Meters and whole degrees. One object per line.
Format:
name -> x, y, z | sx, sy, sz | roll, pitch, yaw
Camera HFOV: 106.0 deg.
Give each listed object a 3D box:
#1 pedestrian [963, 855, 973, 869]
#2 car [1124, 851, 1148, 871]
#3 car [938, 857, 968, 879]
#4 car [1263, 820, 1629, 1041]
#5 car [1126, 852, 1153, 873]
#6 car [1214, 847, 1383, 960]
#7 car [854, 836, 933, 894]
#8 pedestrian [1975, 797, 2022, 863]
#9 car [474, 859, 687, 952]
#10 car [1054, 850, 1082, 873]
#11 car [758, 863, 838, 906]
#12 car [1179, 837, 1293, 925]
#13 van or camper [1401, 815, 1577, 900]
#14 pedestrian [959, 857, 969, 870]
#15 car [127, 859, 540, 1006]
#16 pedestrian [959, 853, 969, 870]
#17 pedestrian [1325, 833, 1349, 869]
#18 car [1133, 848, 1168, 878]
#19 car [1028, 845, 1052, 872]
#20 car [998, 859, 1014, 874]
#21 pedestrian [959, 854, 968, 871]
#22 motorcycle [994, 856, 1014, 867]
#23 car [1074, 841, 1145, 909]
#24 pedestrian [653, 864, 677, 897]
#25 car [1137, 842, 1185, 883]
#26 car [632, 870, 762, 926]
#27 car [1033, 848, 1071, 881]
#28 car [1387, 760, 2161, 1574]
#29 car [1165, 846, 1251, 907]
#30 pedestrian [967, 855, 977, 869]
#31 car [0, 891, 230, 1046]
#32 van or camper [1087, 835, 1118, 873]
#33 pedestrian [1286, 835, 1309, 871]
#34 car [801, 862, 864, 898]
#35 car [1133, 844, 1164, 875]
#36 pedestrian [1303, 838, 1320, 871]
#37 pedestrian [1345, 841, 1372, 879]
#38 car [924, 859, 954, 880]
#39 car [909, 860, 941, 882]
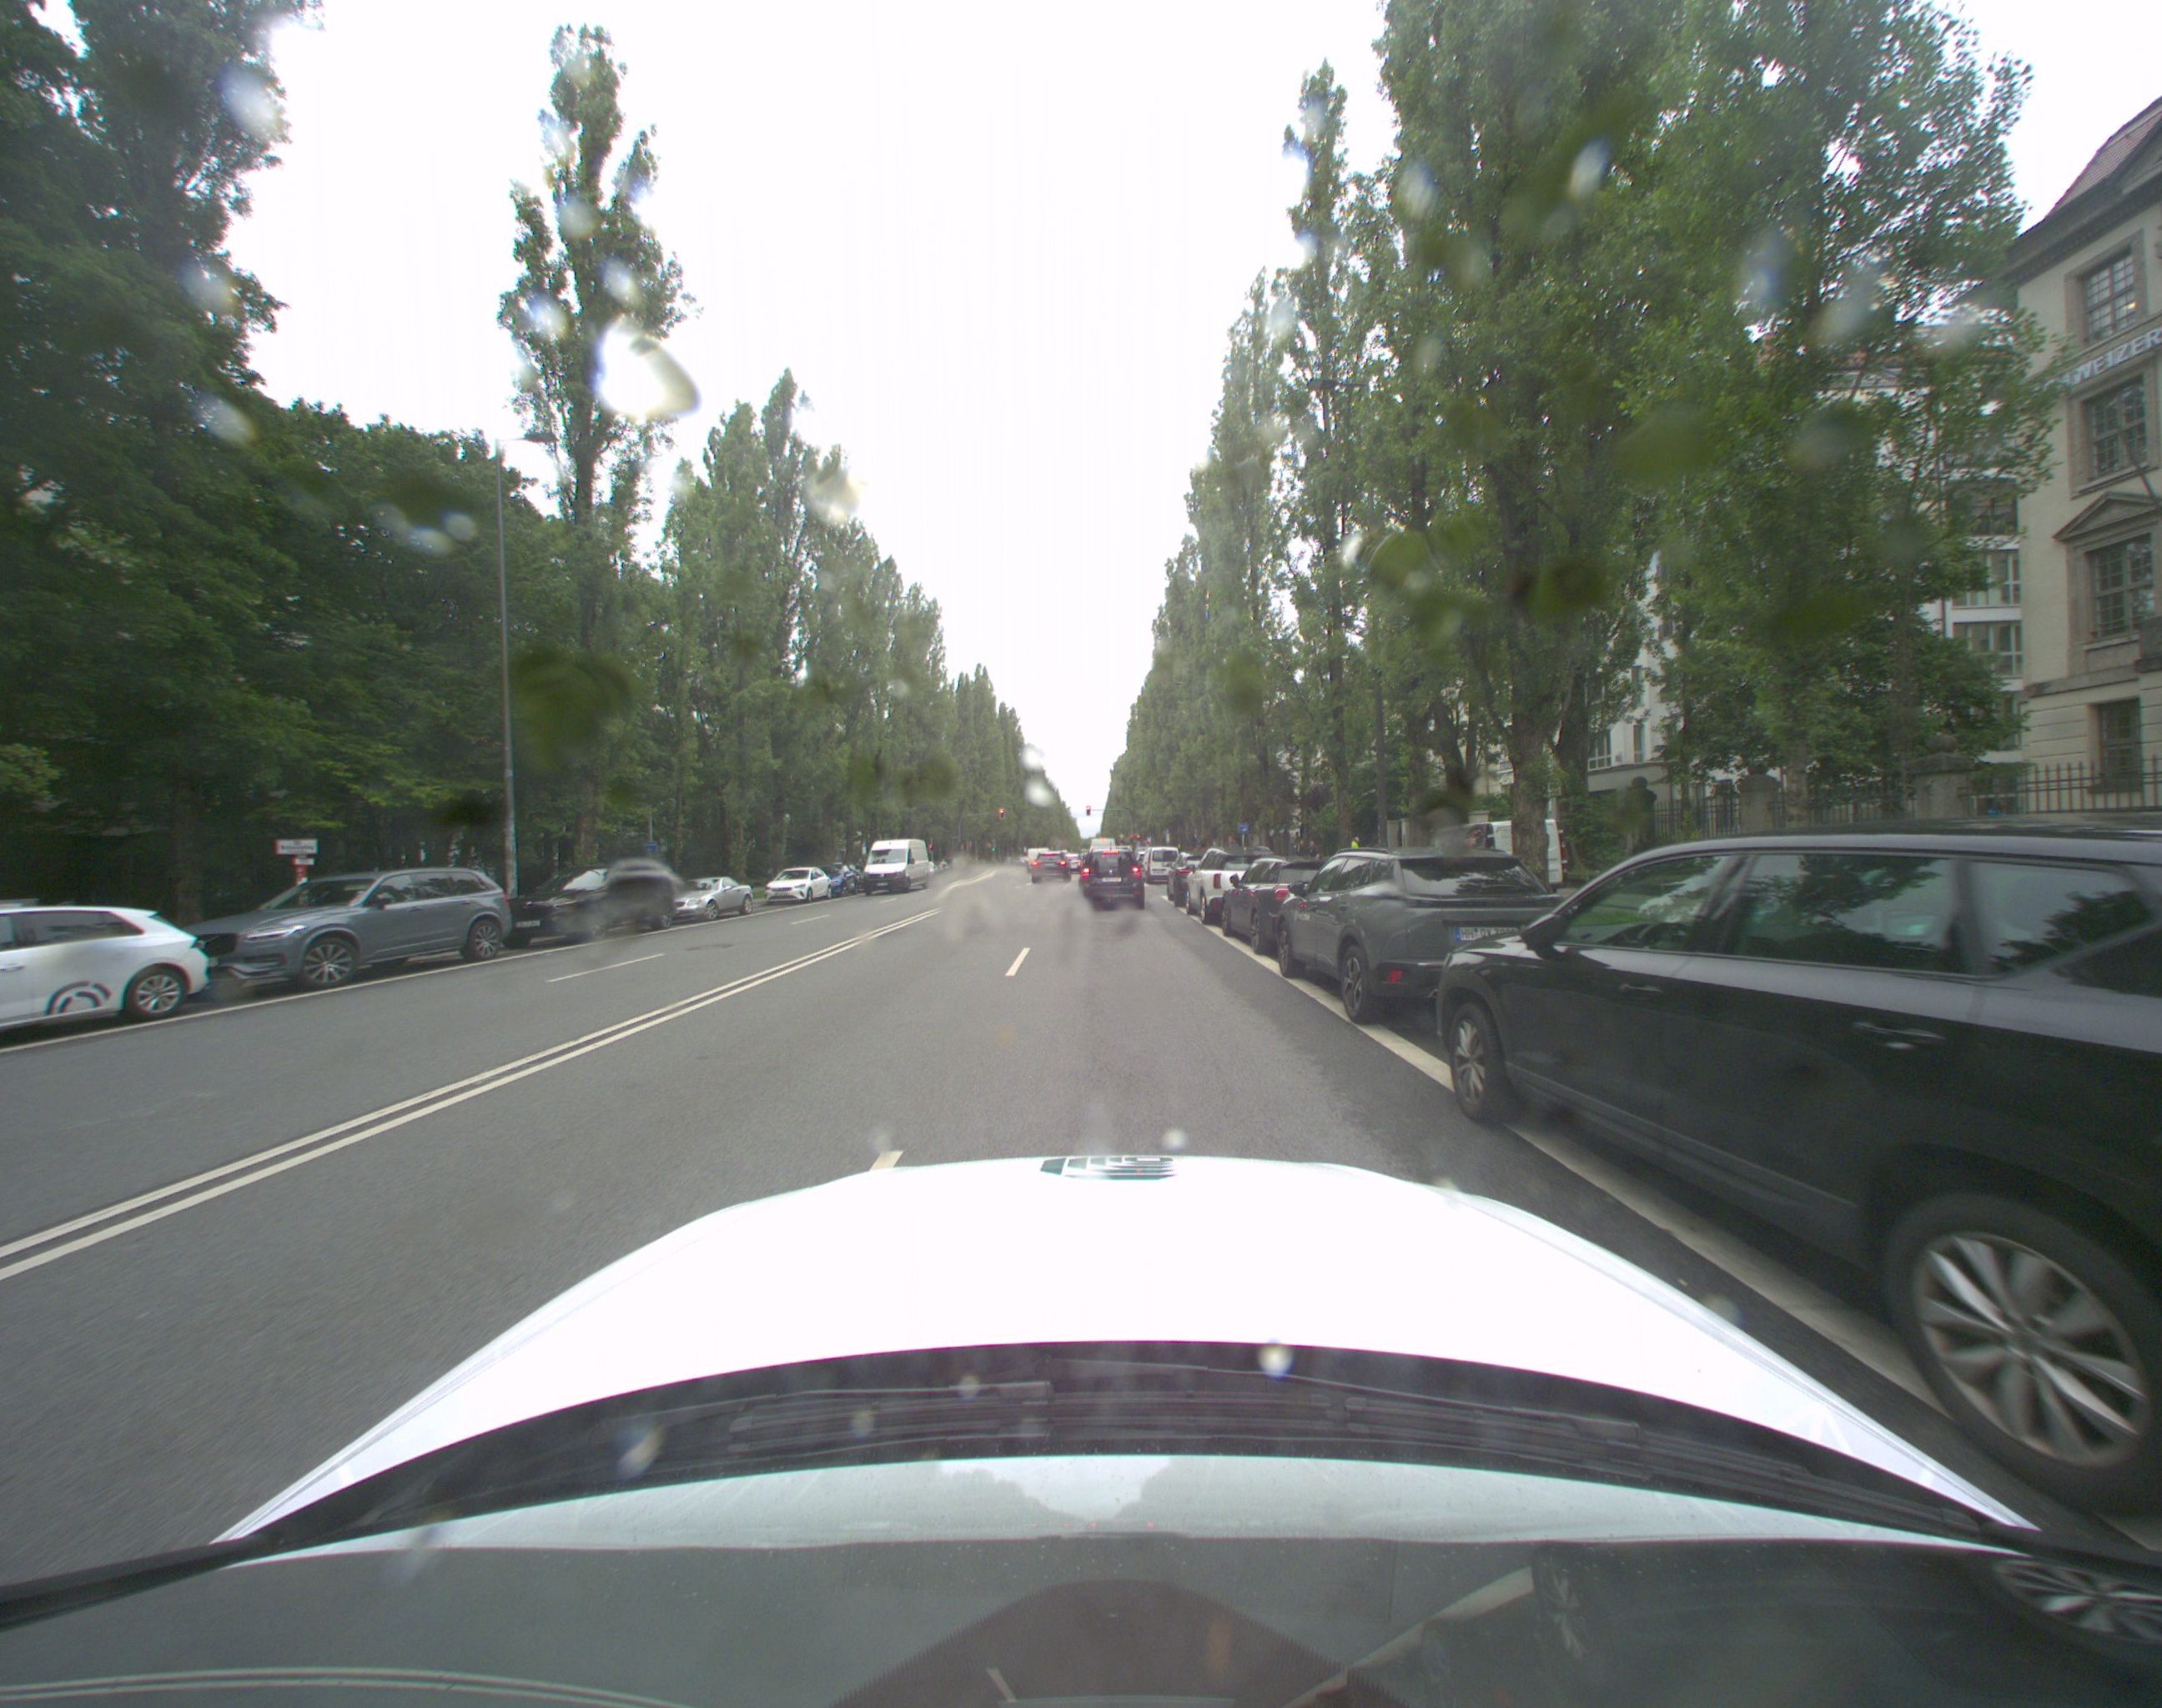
pedestrian -> -14.106, 1.027, 101.679 | 0.887, 1.655, 0.868 | -2, 0, -37
car -> 4.348, 0.548, 64.576 | 1.729, 1.475, 3.563 | -2, 0, 1
car -> -11.012, 1.170, 70.168 | 1.844, 1.654, 4.693 | -4, 0, -1
car -> 3.287, 0.566, 8.487 | 1.777, 1.618, 4.639 | -2, 0, 1
car -> 4.247, 0.586, 59.070 | 1.729, 1.387, 3.563 | -2, 0, 1
car -> 3.383, 0.671, 13.515 | 1.697, 1.519, 4.296 | -2, 0, 1
car -> -8.991, 0.486, 39.712 | 2.221, 2.483, 6.756 | -4, 0, -1
pedestrian -> 26.389, -0.674, 23.436 | 0.636, 1.862, 0.602 | -2, 0, -8
car -> -11.598, 1.081, 19.394 | 1.935, 1.767, 4.895 | -4, 0, 0
car -> -0.945, 0.557, 62.567 | 1.987, 1.560, 4.000 | -2, 1, 0
car -> -11.633, 1.210, 33.780 | 1.765, 1.452, 4.232 | -4, 0, 0
car -> 3.355, 0.519, 18.448 | 1.736, 1.675, 4.581 | -2, 0, 1
van or camper -> 10.435, 0.070, 21.419 | 2.068, 1.933, 5.370 | -1, 0, 2
pedestrian -> -14.704, 1.165, 102.607 | 0.887, 1.655, 0.868 | -2, 0, -37
car -> -11.791, 1.078, 13.560 | 1.903, 1.789, 5.180 | -4, 0, 1
pedestrian -> -14.230, 0.952, 99.202 | 0.881, 2.013, 1.014 | -2, 0, 4
pedestrian -> 13.051, -0.165, 41.593 | 0.801, 1.781, 0.816 | -2, 0, -16
car -> 4.025, 0.488, 47.756 | 1.735, 1.593, 4.212 | -2, 0, 1
car -> -3.288, 0.354, 65.357 | 1.777, 2.111, 4.022 | -2, 0, -2
car -> -10.168, 1.672, 110.534 | 1.682, 1.783, 3.776 | -2, 0, 1
pedestrian -> -11.086, 0.780, 76.653 | 0.658, 1.577, 0.530 | -2, 0, 1
motorcycle -> -9.610, 0.924, 102.210 | 2.355, 1.269, 0.930 | -1, 0, 1
car -> 0.786, 0.534, 23.075 | 1.849, 1.770, 4.001 | 0, 0, 1
pedestrian -> -20.867, 1.318, 40.868 | 0.734, 1.599, 0.881 | -1, 0, 2
car -> 3.946, 0.395, 40.715 | 1.846, 1.881, 4.166 | -2, 0, -1
car -> -11.593, 1.274, 24.958 | 1.820, 1.334, 4.234 | -4, 0, 1
car -> -1.513, 0.516, 43.409 | 1.775, 1.620, 4.026 | 1, 0, 1
car -> 3.029, 0.597, 3.374 | 1.779, 1.648, 4.416 | -2, 0, -1
car -> 3.552, 0.571, 23.570 | 1.873, 1.540, 4.466 | -2, 0, 2
pedestrian -> -13.560, 1.015, 100.981 | 0.887, 1.655, 0.868 | -2, 0, -37
car -> -11.782, 1.268, 8.249 | 1.698, 1.459, 4.273 | -4, 0, 1
van or camper -> 1.496, -0.011, 57.992 | 1.969, 2.548, 4.024 | -2, 0, -1
pedestrian -> 10.738, -0.051, 40.435 | 0.850, 1.717, 0.867 | -3, 0, 0
car -> -11.473, 1.165, 37.856 | 1.704, 1.451, 3.585 | -5, 0, 0
car -> 4.355, 0.359, 53.198 | 1.729, 1.895, 4.026 | -2, 0, 1
pedestrian -> 11.479, 0.027, 40.552 | 0.566, 1.578, 0.867 | -2, 0, 1
pedestrian -> 13.730, 0.266, 40.310 | 0.905, 1.800, 0.825 | -3, 2, -20
car -> -11.186, 1.195, 64.218 | 1.619, 1.389, 4.164 | -4, 0, -1
car -> -11.193, 1.184, 58.661 | 1.619, 1.389, 4.163 | -4, 0, -2
